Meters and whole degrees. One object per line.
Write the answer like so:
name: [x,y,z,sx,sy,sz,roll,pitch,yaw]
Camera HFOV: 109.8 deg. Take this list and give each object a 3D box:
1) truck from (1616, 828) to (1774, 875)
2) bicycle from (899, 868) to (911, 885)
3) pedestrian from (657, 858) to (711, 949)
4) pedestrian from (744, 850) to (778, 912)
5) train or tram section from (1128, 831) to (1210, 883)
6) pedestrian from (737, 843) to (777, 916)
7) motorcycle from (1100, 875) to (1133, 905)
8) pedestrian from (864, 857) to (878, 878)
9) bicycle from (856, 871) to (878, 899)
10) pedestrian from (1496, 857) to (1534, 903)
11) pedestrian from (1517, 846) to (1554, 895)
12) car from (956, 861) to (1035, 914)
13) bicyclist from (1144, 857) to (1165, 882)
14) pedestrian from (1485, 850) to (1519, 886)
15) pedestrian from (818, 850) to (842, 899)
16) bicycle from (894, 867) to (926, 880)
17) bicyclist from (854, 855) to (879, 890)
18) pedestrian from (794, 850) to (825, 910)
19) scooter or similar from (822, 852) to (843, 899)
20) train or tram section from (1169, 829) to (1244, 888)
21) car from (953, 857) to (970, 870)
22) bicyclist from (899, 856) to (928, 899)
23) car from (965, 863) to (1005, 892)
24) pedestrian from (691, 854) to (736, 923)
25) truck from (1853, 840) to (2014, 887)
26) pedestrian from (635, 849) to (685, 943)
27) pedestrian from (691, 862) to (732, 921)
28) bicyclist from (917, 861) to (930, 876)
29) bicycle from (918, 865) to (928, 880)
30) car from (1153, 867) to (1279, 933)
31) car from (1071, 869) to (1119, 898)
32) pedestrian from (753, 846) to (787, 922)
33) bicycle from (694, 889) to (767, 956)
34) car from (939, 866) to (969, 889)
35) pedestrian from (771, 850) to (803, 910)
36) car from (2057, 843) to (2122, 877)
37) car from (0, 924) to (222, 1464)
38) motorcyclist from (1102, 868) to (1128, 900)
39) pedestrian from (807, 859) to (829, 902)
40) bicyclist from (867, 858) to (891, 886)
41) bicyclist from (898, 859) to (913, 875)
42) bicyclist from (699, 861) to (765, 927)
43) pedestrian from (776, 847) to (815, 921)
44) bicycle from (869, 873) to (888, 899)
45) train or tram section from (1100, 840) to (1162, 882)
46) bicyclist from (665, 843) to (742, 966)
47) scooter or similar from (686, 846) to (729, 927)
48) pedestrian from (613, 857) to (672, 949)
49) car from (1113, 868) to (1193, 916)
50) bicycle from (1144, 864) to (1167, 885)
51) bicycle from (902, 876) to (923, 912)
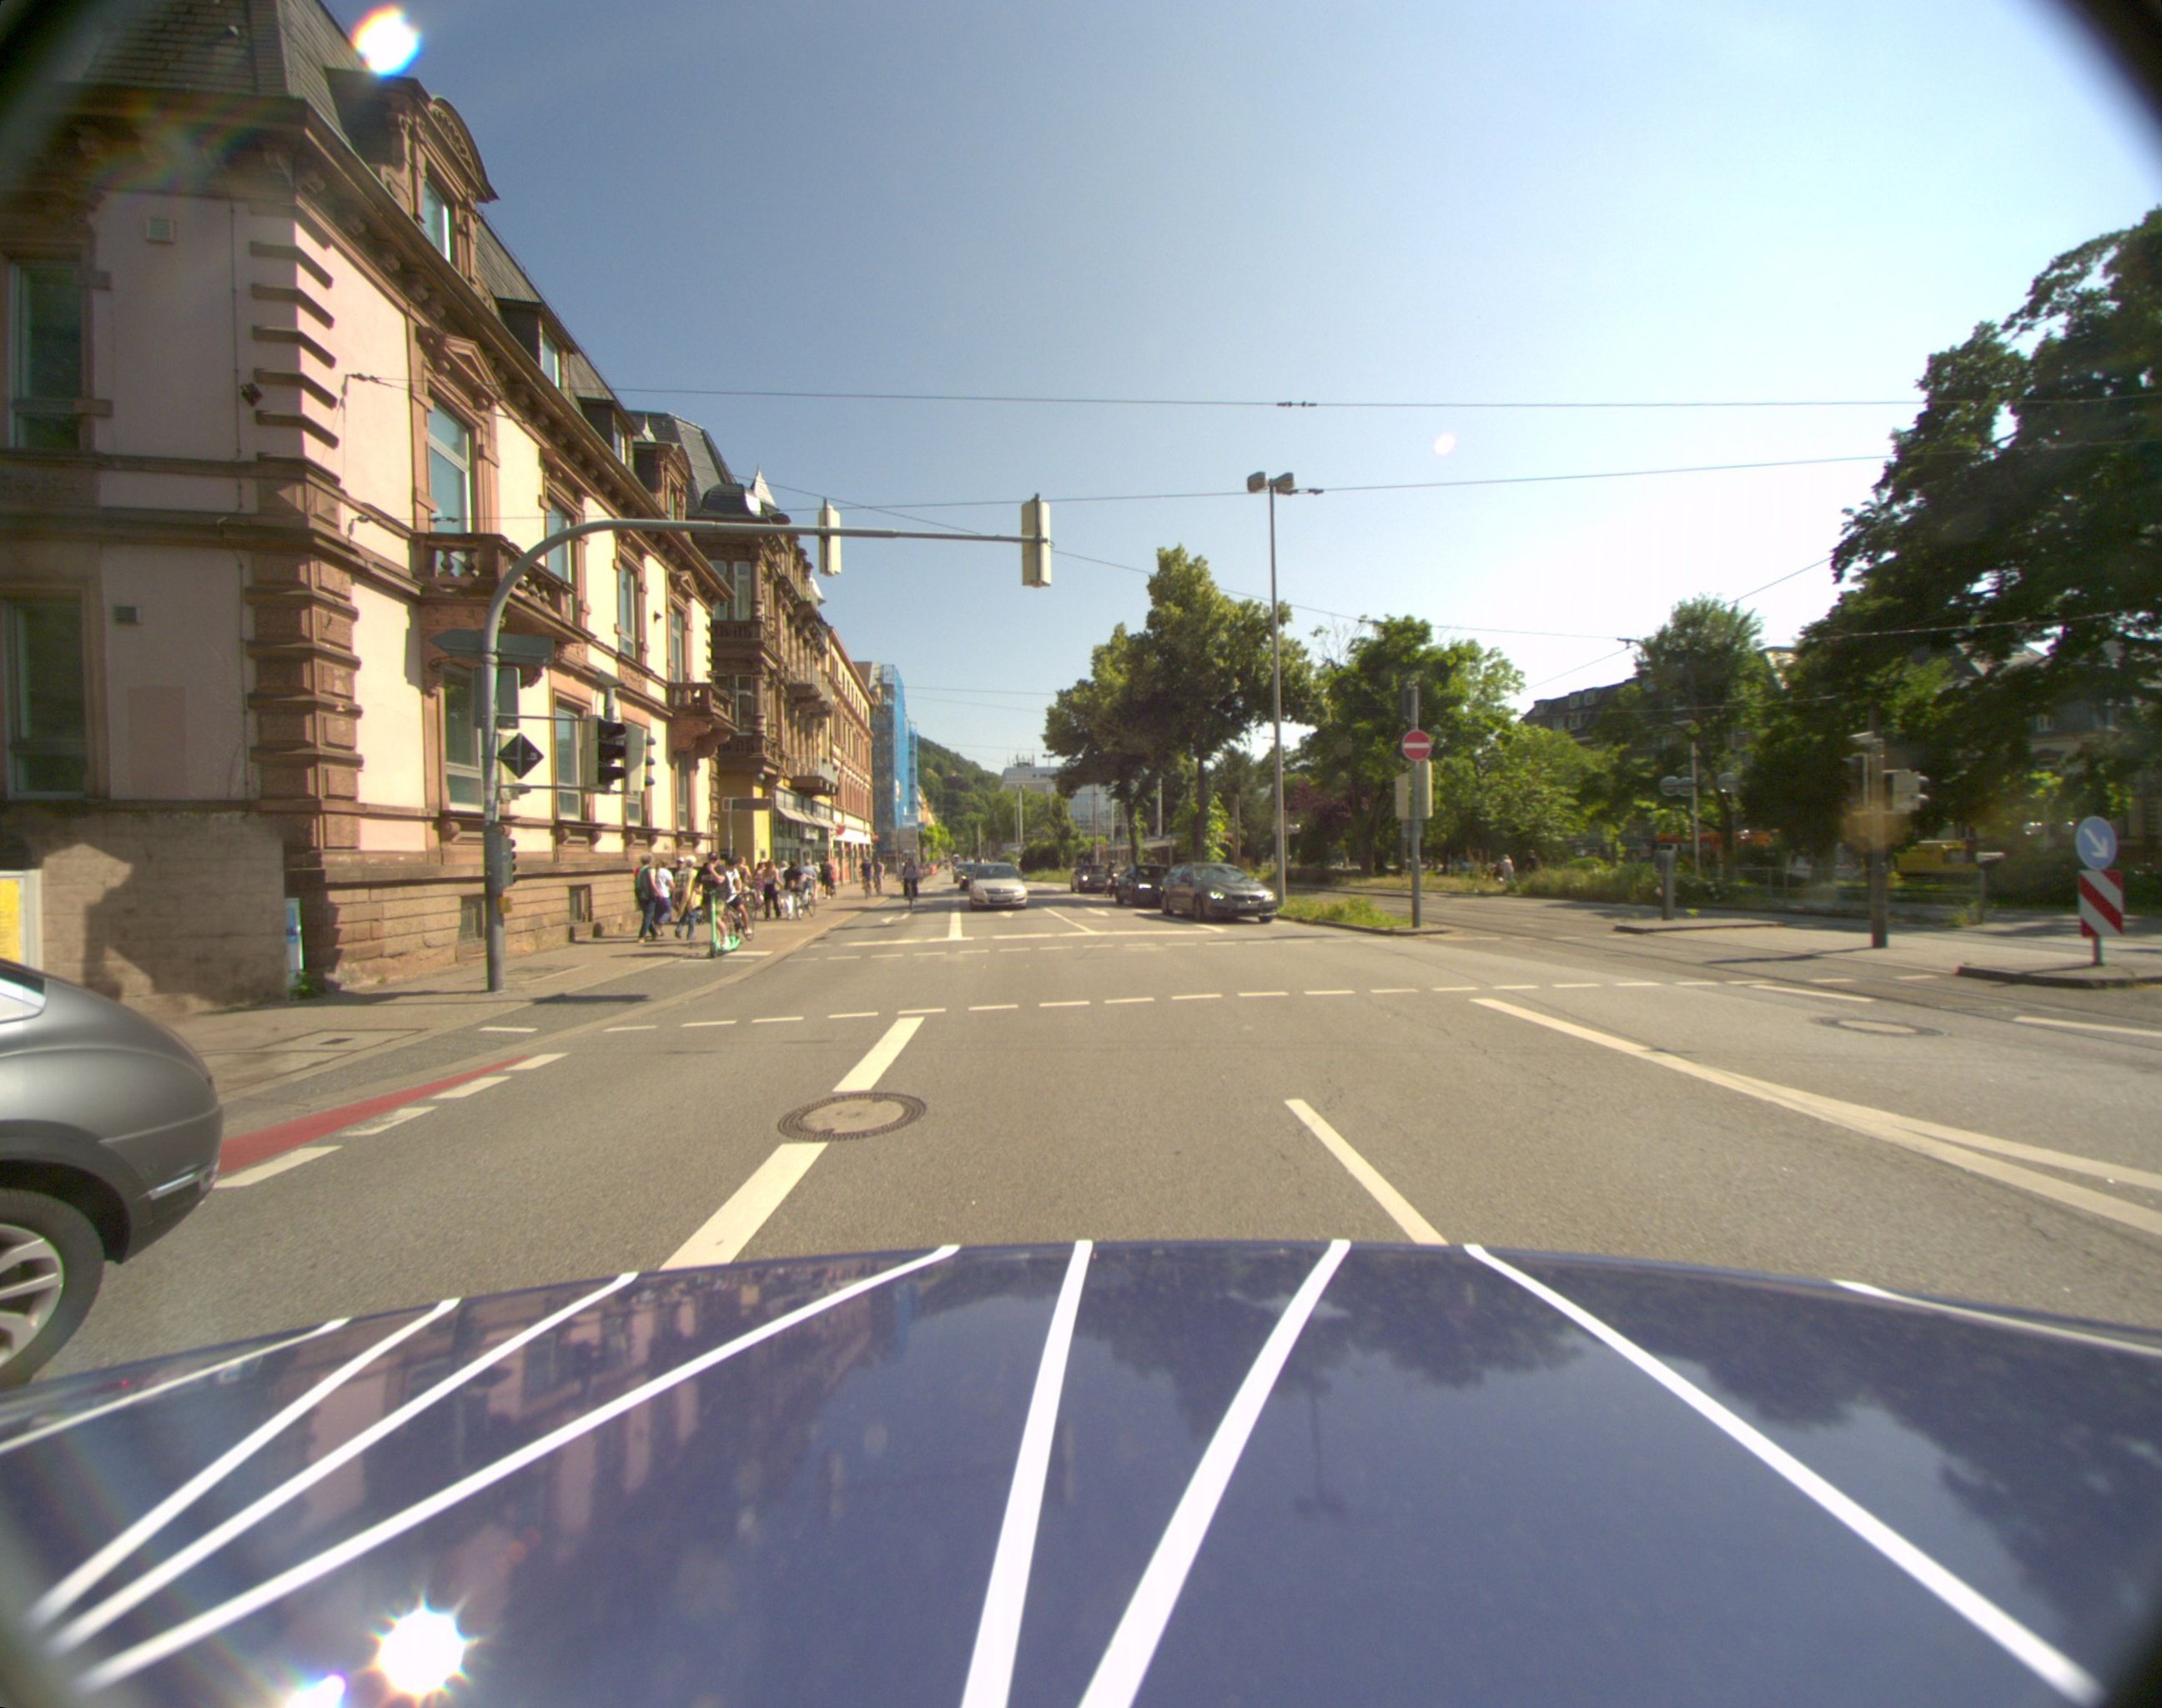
truck: [58.764,-0.188,73.366,3.635,4.237,11.793,0,0,-19]
bicycle: [-12.040,1.531,52.034,0.644,1.076,2.494,0,0,-10]
pedestrian: [-7.897,0.956,15.151,0.708,1.758,0.902,0,0,-11]
pedestrian: [-10.563,0.881,25.101,0.814,2.002,0.814,2,0,-10]
train or tram section: [6.117,0.220,55.766,2.769,3.383,12.402,0,0,-9]
pedestrian: [-9.053,0.704,21.260,0.814,2.002,0.814,2,0,-10]
motorcycle: [1.504,1.521,32.730,0.903,1.156,2.351,0,0,-10]
pedestrian: [-16.073,0.993,58.293,0.913,1.591,1.231,0,0,-10]
bicycle: [-9.042,1.287,32.112,0.644,1.076,2.494,0,0,-10]
pedestrian: [19.523,1.159,34.198,1.225,2.002,0.802,0,0,-3]
pedestrian: [19.919,0.718,33.337,1.126,2.138,0.802,0,0,-3]
car: [-2.862,0.998,24.541,1.805,1.492,4.491,0,0,-16]
bicyclist: [4.219,0.871,43.582,0.913,1.385,1.231,0,0,-10]
pedestrian: [19.476,0.634,35.156,1.039,1.610,0.934,0,0,-3]
pedestrian: [-10.584,0.866,32.090,0.814,2.002,0.814,2,0,-10]
bicycle: [-14.023,1.590,62.425,2.496,1.076,0.643,0,0,-5]
bicyclist: [-9.027,0.782,31.998,0.913,1.428,1.231,0,0,-10]
pedestrian: [-9.284,0.879,26.018,0.814,2.002,0.814,2,0,-10]
scooter or similar: [-10.771,0.906,32.993,0.694,2.002,1.094,0,0,-10]
train or tram section: [7.578,0.295,46.724,2.769,3.383,5.881,0,0,-10]
car: [-15.161,1.210,96.894,2.000,1.564,3.998,-2,0,-8]
bicyclist: [-5.556,0.762,25.270,0.913,1.385,1.231,0,0,-11]
car: [-4.978,1.179,39.004,1.896,1.323,3.997,-2,0,-9]
pedestrian: [-9.638,0.895,19.958,0.814,1.782,0.814,2,0,-10]
truck: [62.397,0.641,55.950,2.467,3.196,7.645,0,0,-14]
pedestrian: [-8.783,0.854,15.882,0.637,1.880,0.902,-1,0,-11]
pedestrian: [-10.306,1.045,21.230,0.814,1.593,0.814,2,0,-10]
bicyclist: [-11.926,1.075,57.509,0.913,1.076,1.232,0,0,-10]
bicycle: [-11.983,1.402,57.571,0.644,1.076,2.494,0,0,-10]
car: [3.337,1.090,19.762,1.754,1.477,4.744,0,-1,-9]
car: [0.637,1.396,37.164,1.638,1.301,3.911,0,0,-10]
pedestrian: [-8.434,0.800,20.607,0.662,2.002,0.699,2,0,-10]
bicycle: [-6.693,1.273,14.636,0.781,1.096,2.137,0,0,-11]
car: [-9.484,1.722,56.895,2.000,1.564,3.998,-2,0,-8]
pedestrian: [-9.996,0.876,25.824,0.814,2.002,0.814,2,0,-10]
car: [64.212,0.359,48.367,4.564,2.002,1.995,-1,1,-30]
car: [-4.440,1.015,0.950,1.932,1.507,3.997,0,0,14]
motorcyclist: [1.463,1.298,32.980,0.903,1.350,0.992,0,0,-10]
pedestrian: [-10.510,1.034,30.369,0.707,1.685,0.628,0,1,-7]
bicyclist: [-9.100,0.817,34.238,0.913,1.227,1.232,0,0,-10]
bicyclist: [-12.042,0.895,52.093,0.913,1.062,1.232,0,0,-10]
bicyclist: [-6.692,0.748,14.633,0.924,1.212,0.971,0,0,-10]
pedestrian: [-7.879,0.816,20.996,0.814,2.002,0.814,2,0,-10]
bicycle: [-9.167,1.421,34.466,0.644,1.076,2.494,0,0,-10]
train or tram section: [4.250,0.589,68.027,2.769,3.383,12.401,0,0,-9]
bicyclist: [-6.386,0.824,12.902,0.945,2.002,0.829,0,0,-10]
scooter or similar: [-9.500,0.801,19.374,0.694,2.002,1.094,0,0,-10]
pedestrian: [-8.593,0.933,14.924,0.708,1.743,0.902,-1,1,-11]
car: [2.343,1.231,25.753,1.798,1.403,3.997,0,0,-8]
bicycle: [4.238,1.168,43.529,0.644,1.077,2.494,-1,1,-10]
bicycle: [-5.564,1.309,25.198,0.644,1.076,2.494,0,0,-12]
